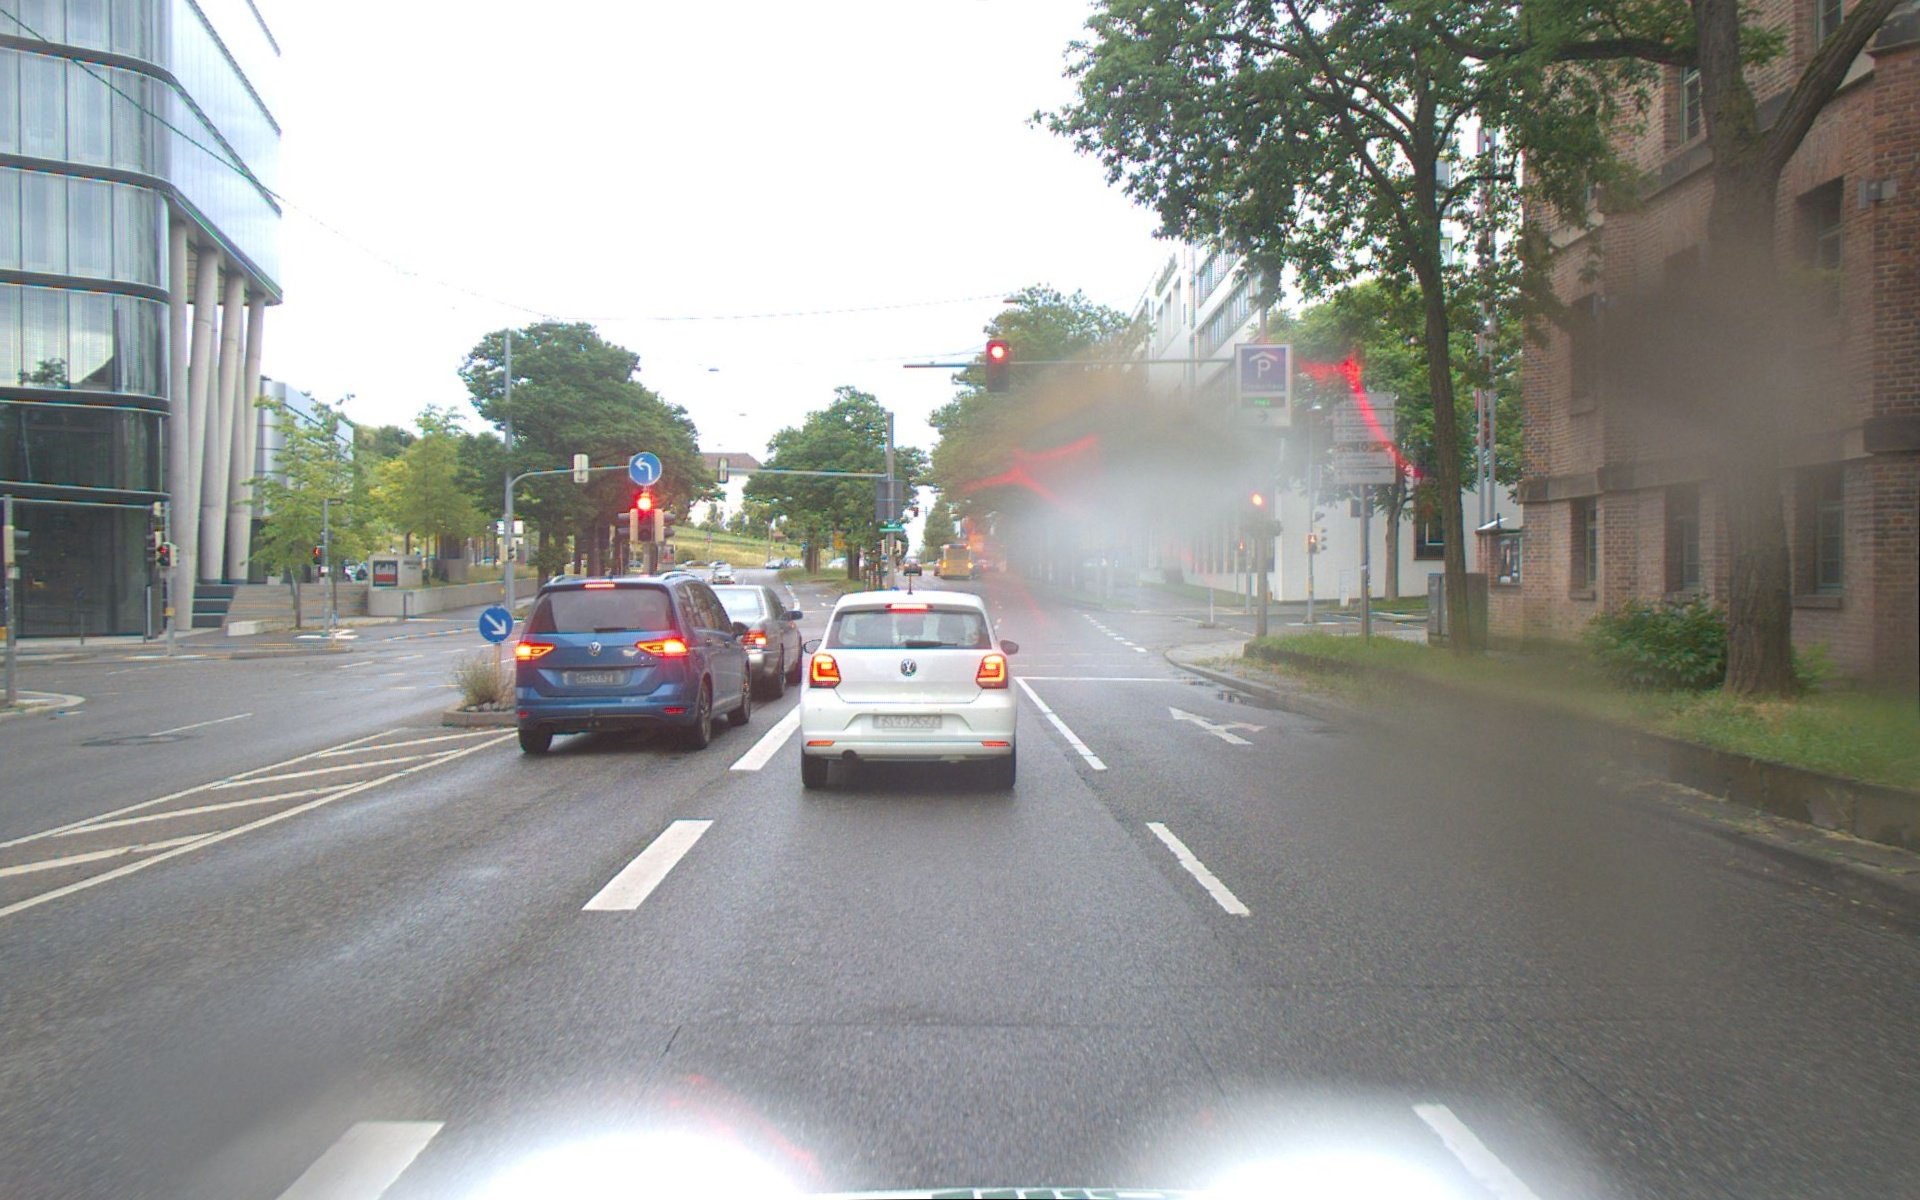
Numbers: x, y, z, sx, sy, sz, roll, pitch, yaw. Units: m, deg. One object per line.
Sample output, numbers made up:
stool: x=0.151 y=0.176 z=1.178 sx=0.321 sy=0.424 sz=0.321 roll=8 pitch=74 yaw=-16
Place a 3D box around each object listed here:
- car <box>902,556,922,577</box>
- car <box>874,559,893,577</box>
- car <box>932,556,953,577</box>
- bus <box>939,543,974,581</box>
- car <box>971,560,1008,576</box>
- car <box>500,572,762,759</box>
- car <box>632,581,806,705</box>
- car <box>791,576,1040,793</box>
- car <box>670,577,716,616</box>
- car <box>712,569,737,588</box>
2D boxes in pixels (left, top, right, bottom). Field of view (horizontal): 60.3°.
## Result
car: x=-4.753 y=-3.326 z=163.987 sx=1.954 sy=2.049 sz=3.998 roll=-1 pitch=1 yaw=-3
car: x=-7.681 y=-3.208 z=165.424 sx=1.759 sy=1.772 sz=3.998 roll=-1 pitch=1 yaw=-3
car: x=-1.734 y=-3.358 z=164.657 sx=1.954 sy=2.049 sz=3.998 roll=-1 pitch=1 yaw=-3
bus: x=-0.398 y=-3.479 z=151.356 sx=2.771 sy=3.323 sz=9.997 roll=0 pitch=2 yaw=-3
car: x=2.943 y=-3.129 z=163.934 sx=1.670 sy=1.542 sz=3.804 roll=0 pitch=1 yaw=42
car: x=-3.169 y=0.561 z=16.762 sx=1.736 sy=1.624 sz=4.198 roll=-1 pitch=1 yaw=1
car: x=-3.262 y=0.527 z=23.131 sx=1.809 sy=1.536 sz=4.048 roll=-1 pitch=1 yaw=0
car: x=-0.362 y=0.579 z=13.711 sx=1.758 sy=1.528 sz=3.999 roll=0 pitch=1 yaw=-1
car: x=-11.667 y=-0.178 z=72.450 sx=1.716 sy=1.547 sz=3.813 roll=-2 pitch=1 yaw=-5
car: x=-19.411 y=-1.808 z=136.649 sx=1.779 sy=1.436 sz=4.651 roll=-2 pitch=2 yaw=-5
